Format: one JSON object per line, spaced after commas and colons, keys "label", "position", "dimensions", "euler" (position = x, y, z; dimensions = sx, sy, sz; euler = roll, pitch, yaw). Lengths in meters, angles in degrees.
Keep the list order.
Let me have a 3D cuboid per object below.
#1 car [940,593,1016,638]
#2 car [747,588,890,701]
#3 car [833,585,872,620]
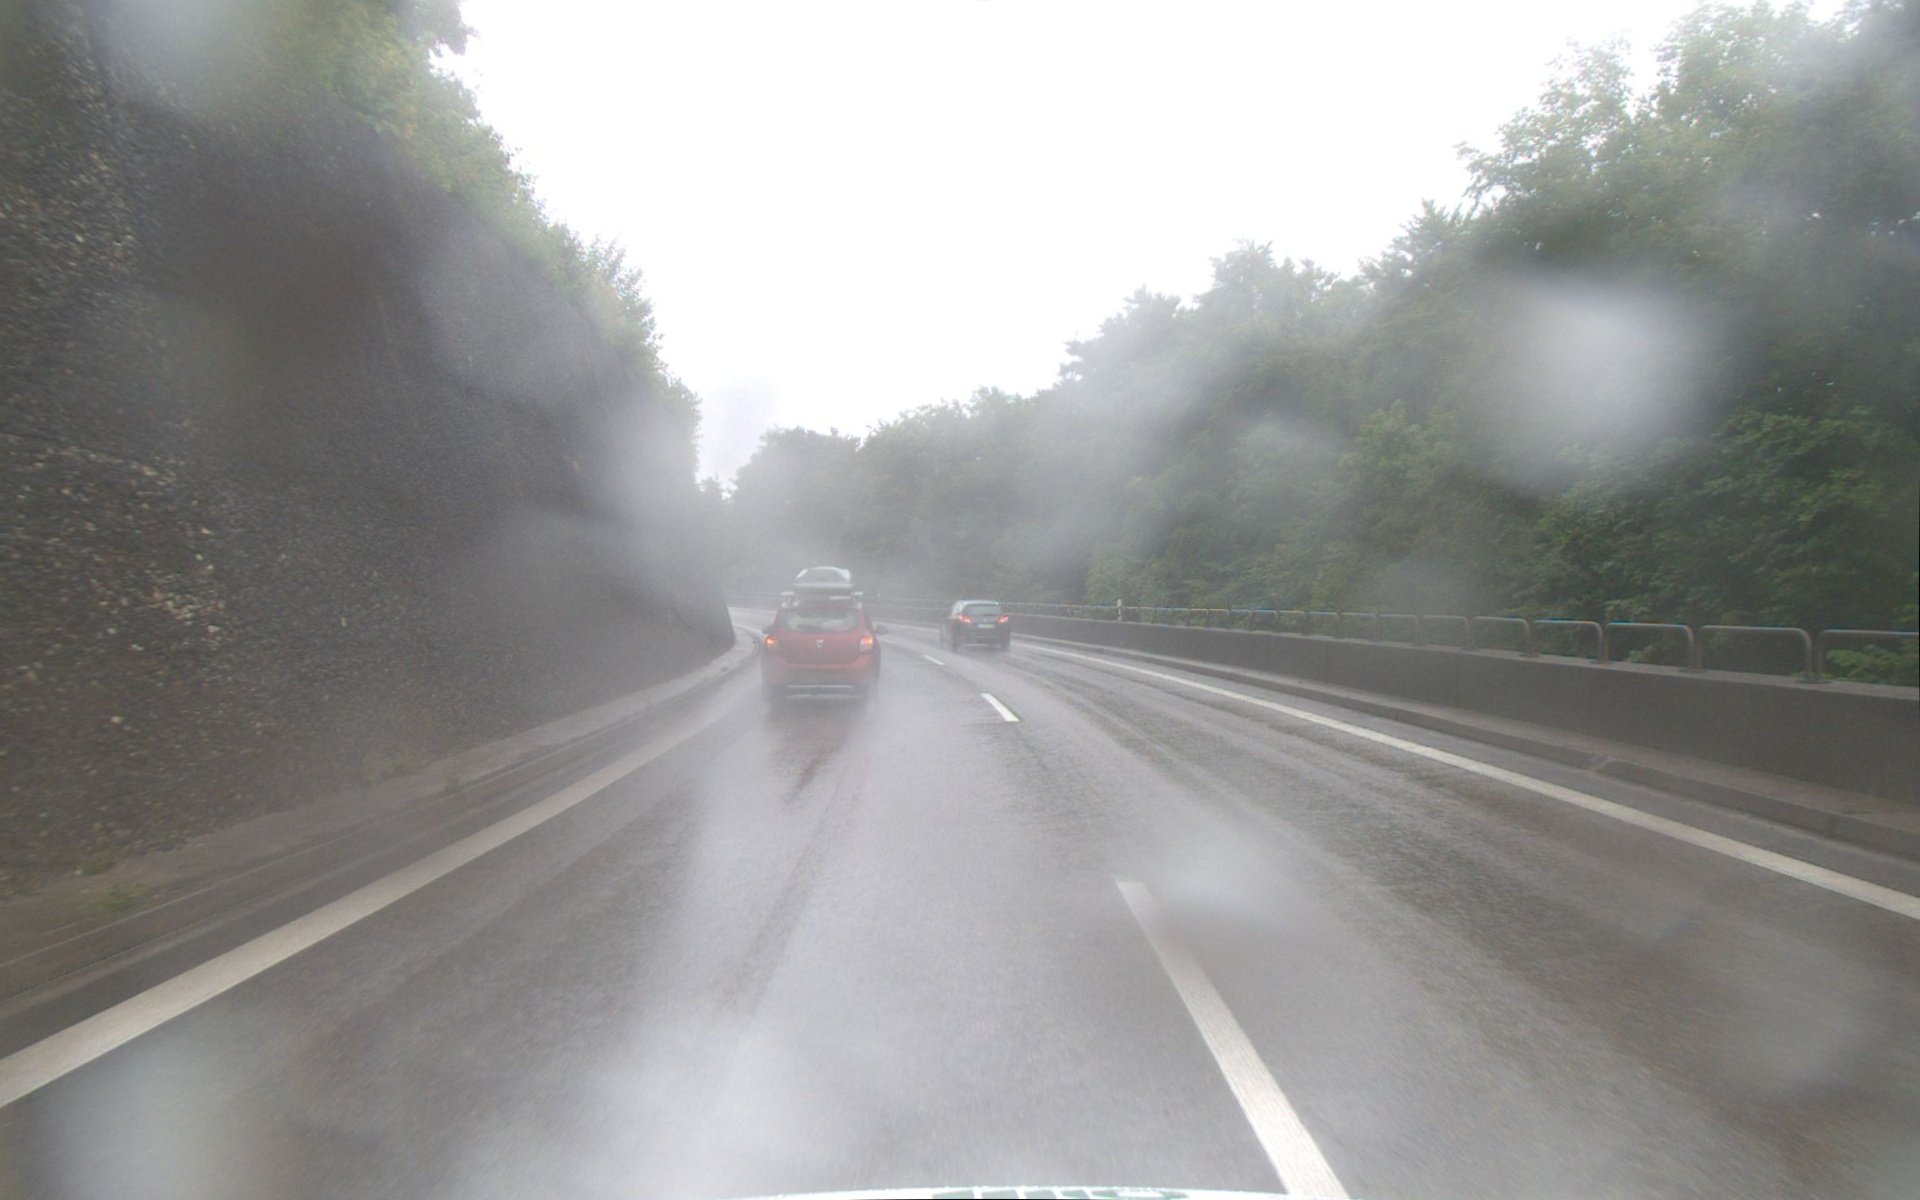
{"label": "car", "position": [0.512, 0.459, 50.927], "dimensions": [1.767, 1.330, 3.992], "euler": [0, 0, -8]}
{"label": "car", "position": [-2.071, 0.632, 25.232], "dimensions": [1.953, 1.579, 3.998], "euler": [0, 0, -2]}
{"label": "car", "position": [-5.594, 0.145, 86.343], "dimensions": [1.954, 1.780, 3.997], "euler": [1, -1, -4]}
